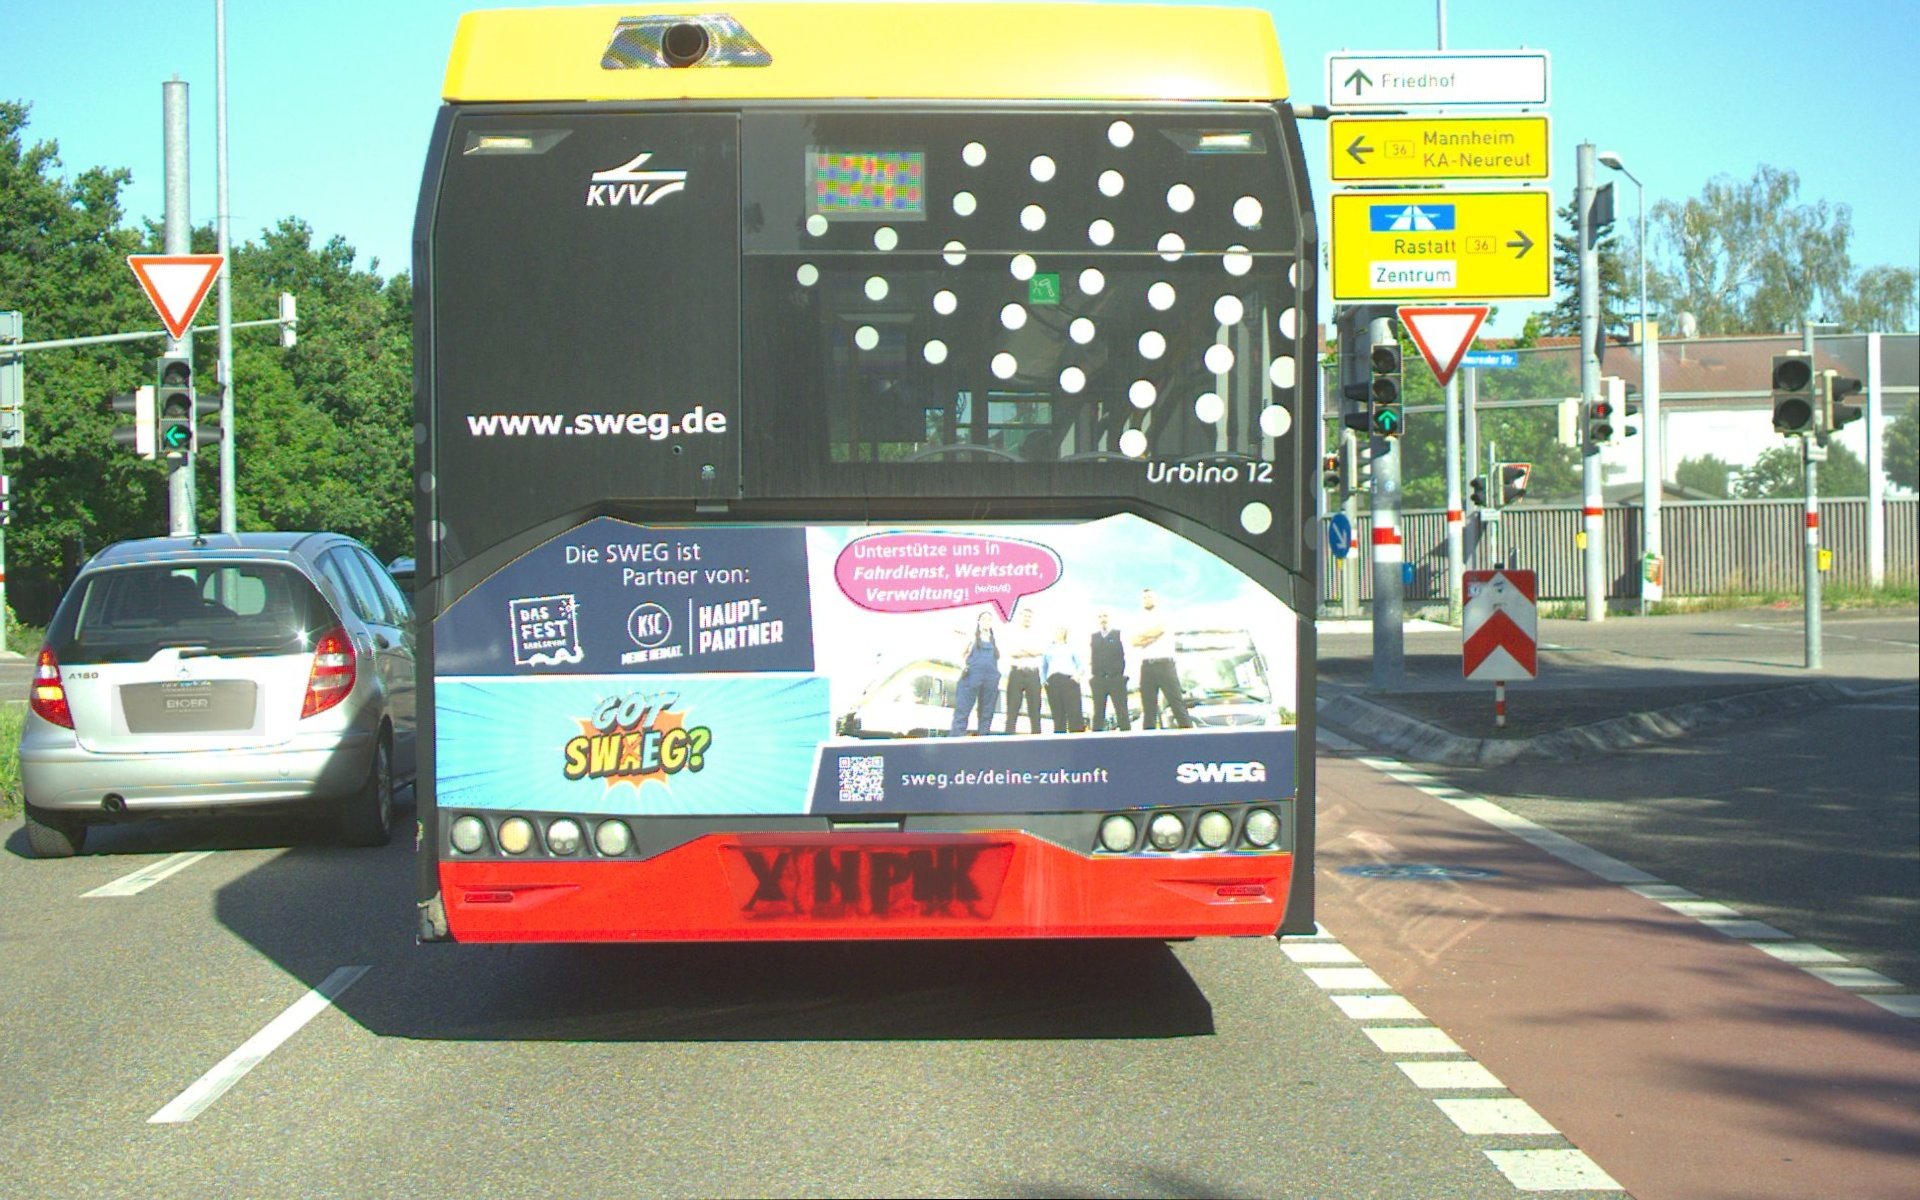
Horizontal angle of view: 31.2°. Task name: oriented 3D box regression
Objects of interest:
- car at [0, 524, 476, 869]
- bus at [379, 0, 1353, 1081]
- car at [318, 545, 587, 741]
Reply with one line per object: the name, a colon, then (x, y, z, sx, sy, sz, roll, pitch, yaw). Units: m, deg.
car: (-3.740, 0.425, 18.372, 1.761, 1.584, 4.000, -2, 1, -1)
bus: (-0.277, -0.403, 15.310, 2.642, 3.156, 11.861, 0, 1, 0)
car: (-4.131, 0.300, 28.493, 1.692, 1.453, 3.751, -2, 1, -1)
